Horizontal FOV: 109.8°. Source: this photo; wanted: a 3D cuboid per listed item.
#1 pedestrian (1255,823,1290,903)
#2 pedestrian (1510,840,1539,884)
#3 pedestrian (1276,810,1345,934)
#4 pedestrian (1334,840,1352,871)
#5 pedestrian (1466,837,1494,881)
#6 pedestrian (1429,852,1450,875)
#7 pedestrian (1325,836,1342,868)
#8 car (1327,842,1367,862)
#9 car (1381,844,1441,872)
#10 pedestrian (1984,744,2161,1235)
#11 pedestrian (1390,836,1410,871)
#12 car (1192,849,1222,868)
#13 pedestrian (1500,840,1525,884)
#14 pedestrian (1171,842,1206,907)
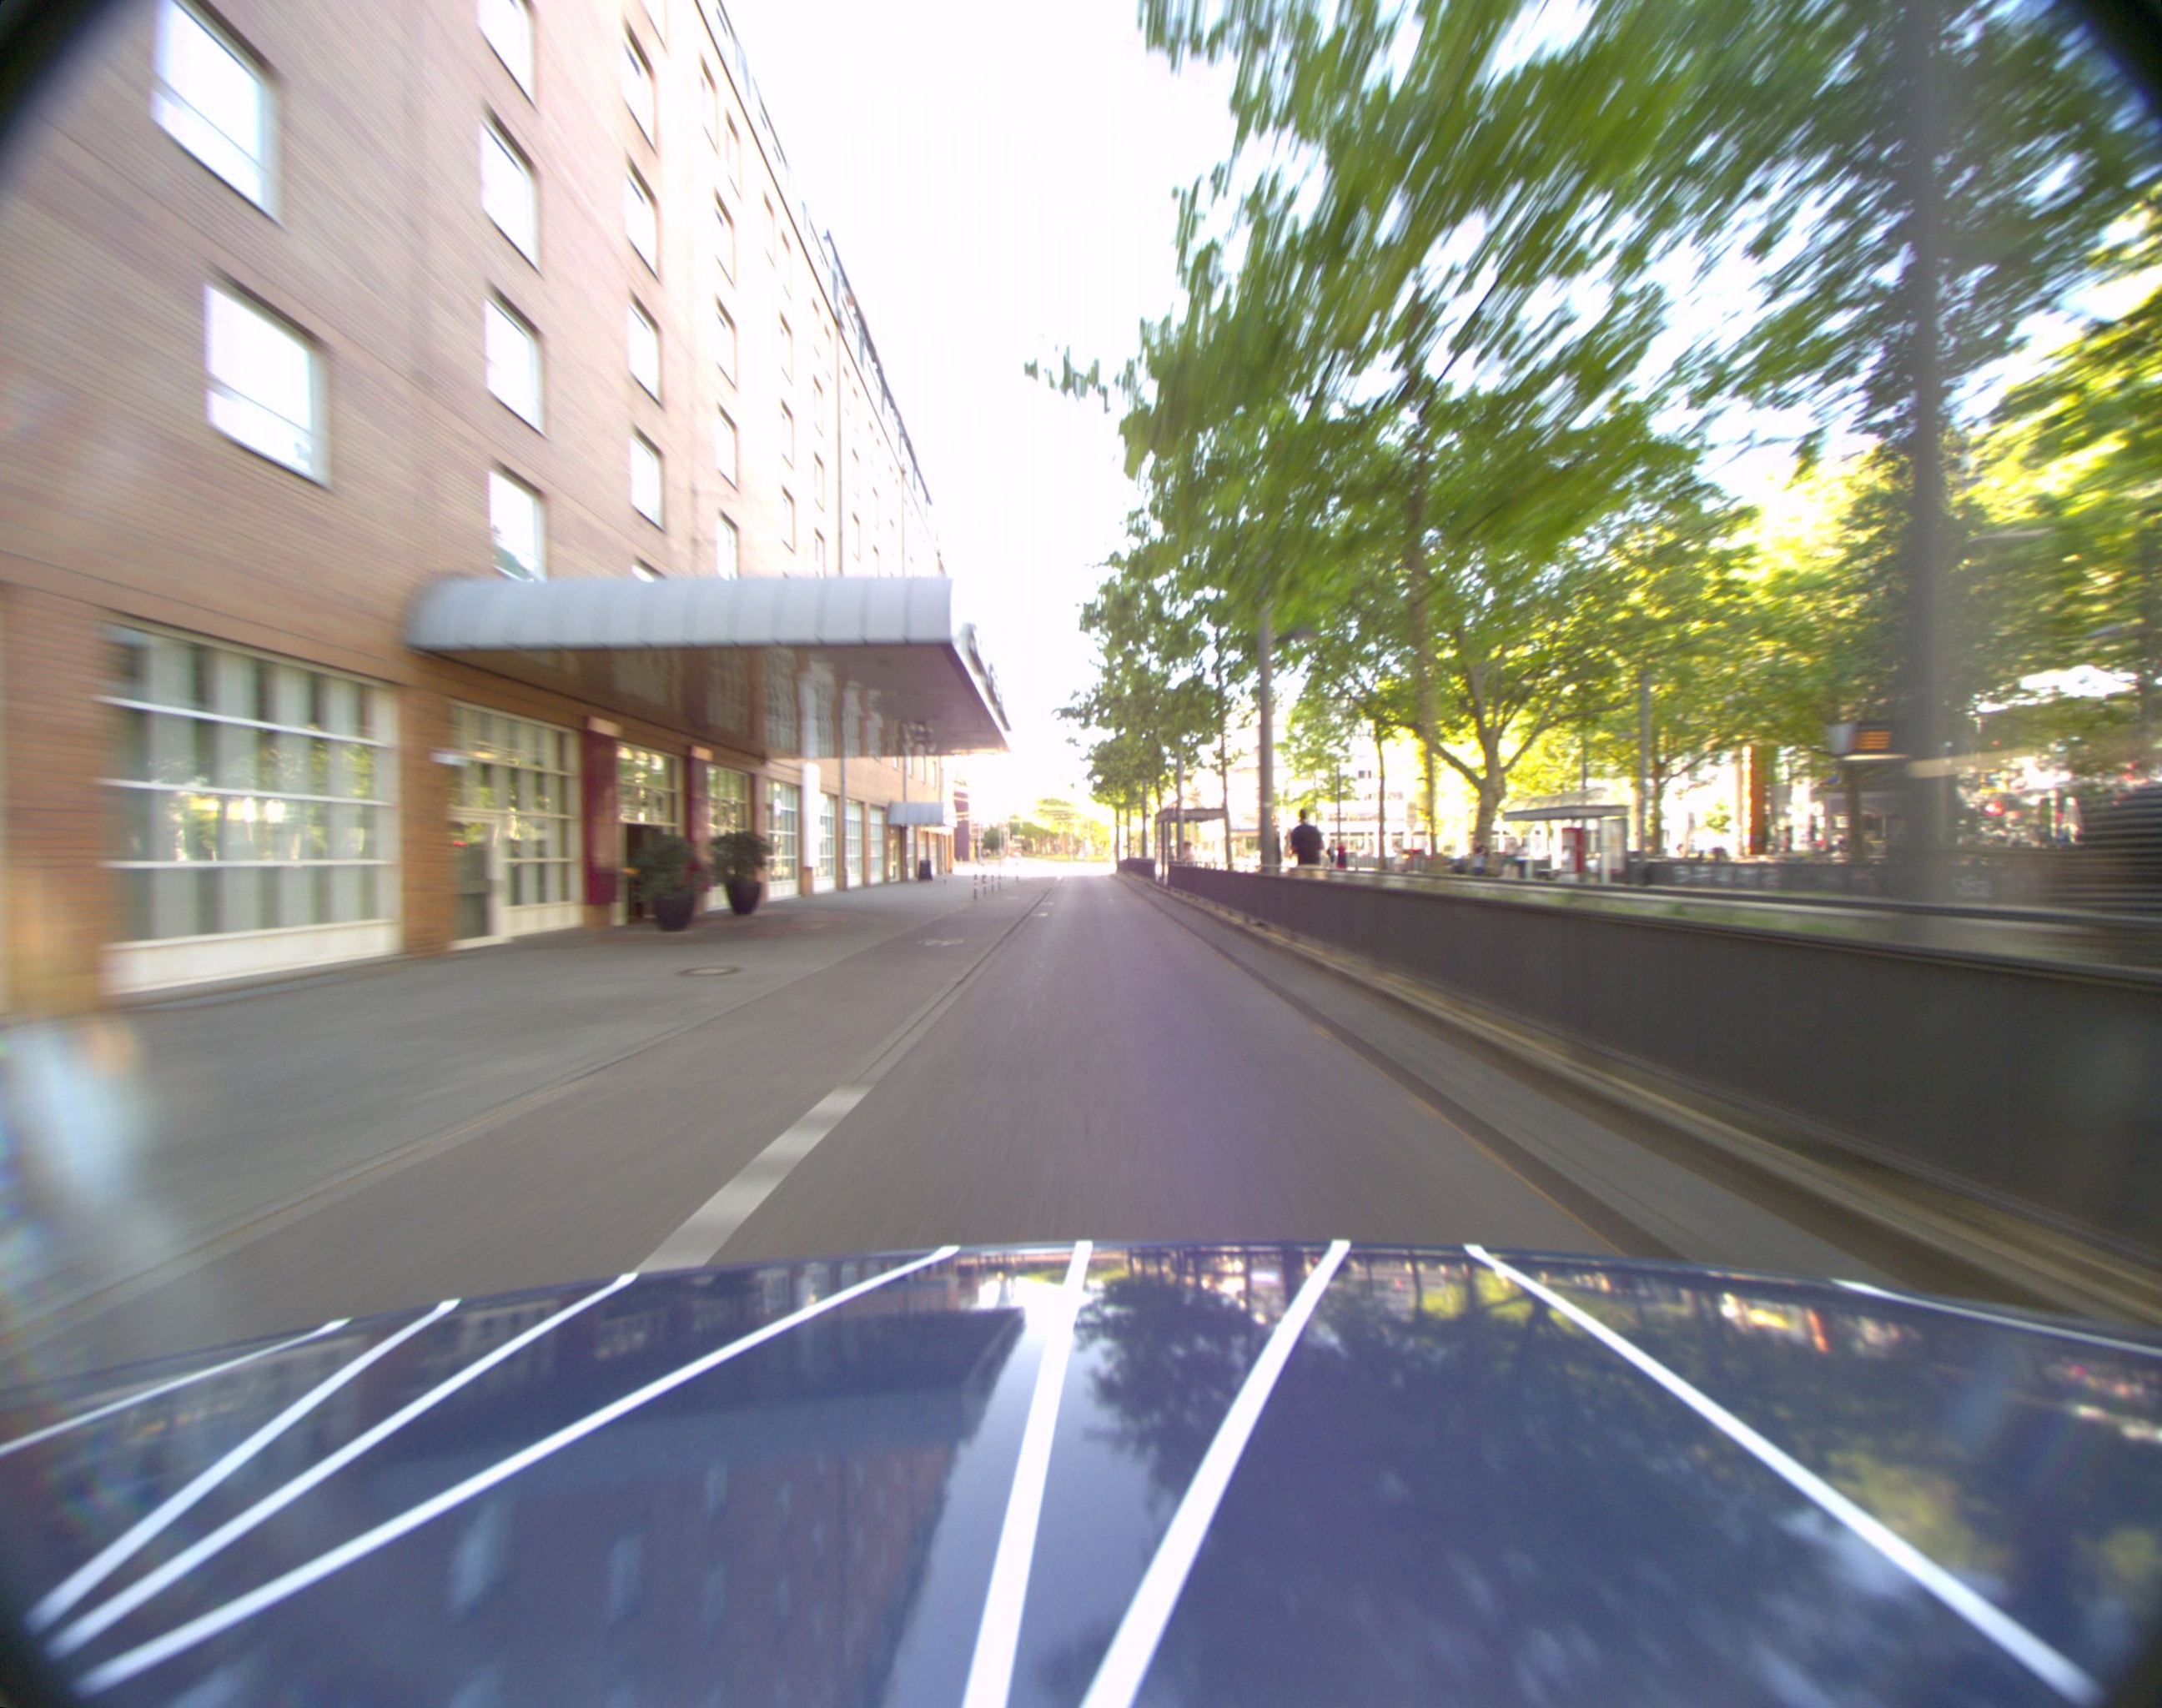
[{"bbox_3d":[4.487,0.206,17.828,0.648,1.829,0.638,-1,1,0],"label":"pedestrian"},{"bbox_3d":[15.125,0.256,25.910,0.571,1.477,0.607,-1,1,-12],"label":"pedestrian"},{"bbox_3d":[3.462,0.255,11.512,0.708,1.792,0.826,-1,1,-7],"label":"pedestrian"},{"bbox_3d":[14.242,0.064,41.278,0.686,1.686,0.698,-1,1,-8],"label":"pedestrian"},{"bbox_3d":[15.175,0.187,28.907,0.669,1.632,0.668,-1,2,-12],"label":"pedestrian"},{"bbox_3d":[16.613,0.427,35.233,0.723,1.034,0.698,-1,1,8],"label":"pedestrian"},{"bbox_3d":[13.908,-0.121,41.922,0.656,1.744,0.676,-1,1,-8],"label":"pedestrian"},{"bbox_3d":[19.818,-0.158,56.743,1.871,1.447,3.341,-1,1,0],"label":"car"},{"bbox_3d":[19.858,0.187,45.911,1.998,1.630,4.000,0,1,1],"label":"car"},{"bbox_3d":[4.080,0.460,2.698,0.731,1.692,0.863,-1,1,2],"label":"pedestrian"},{"bbox_3d":[16.214,-0.024,38.665,0.698,1.730,0.637,-1,1,-8],"label":"pedestrian"},{"bbox_3d":[10.311,0.327,62.440,1.871,1.447,3.341,-1,1,0],"label":"car"},{"bbox_3d":[15.048,0.277,26.506,0.554,1.489,0.550,-1,1,-12],"label":"pedestrian"},{"bbox_3d":[2.864,0.532,20.218,0.742,1.680,0.645,-3,2,-1],"label":"pedestrian"}]
